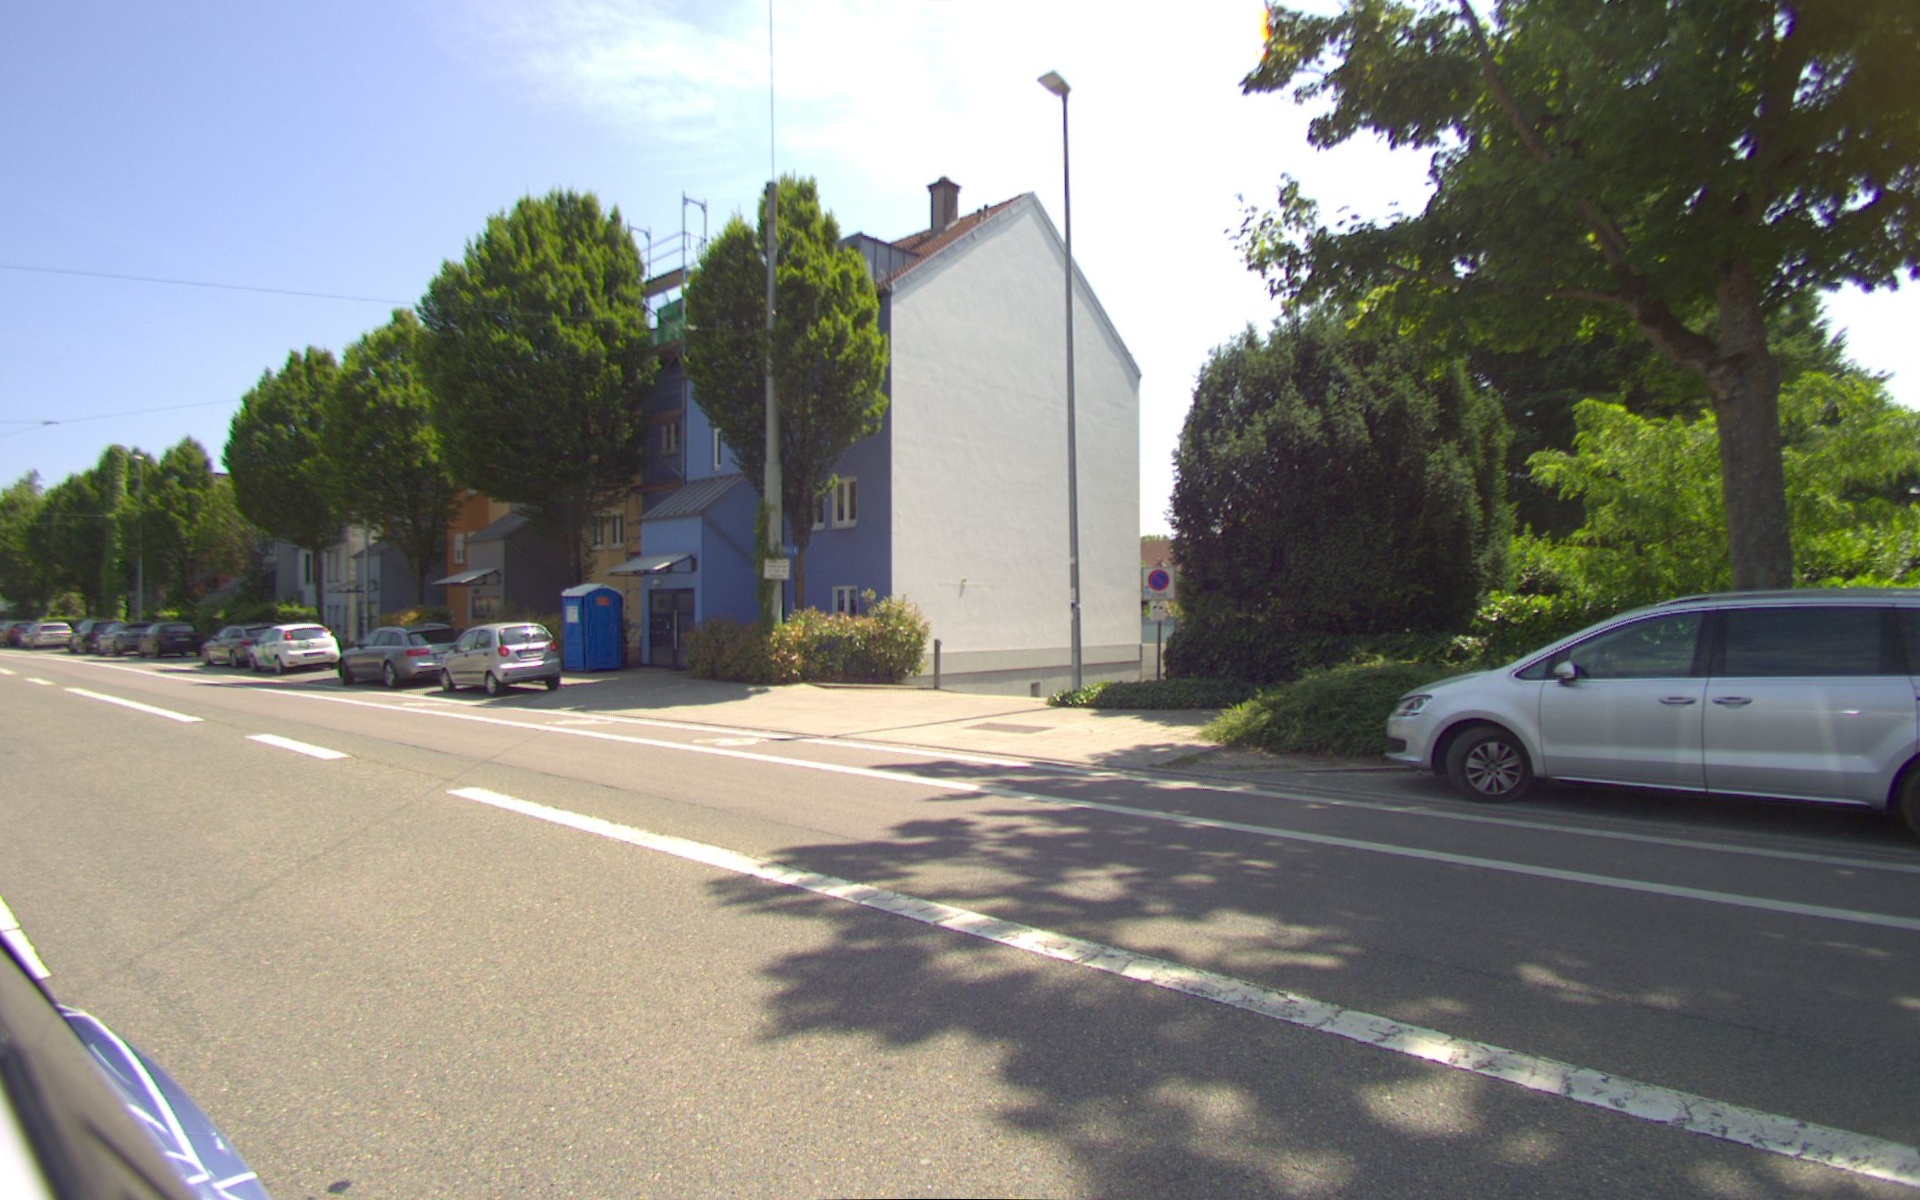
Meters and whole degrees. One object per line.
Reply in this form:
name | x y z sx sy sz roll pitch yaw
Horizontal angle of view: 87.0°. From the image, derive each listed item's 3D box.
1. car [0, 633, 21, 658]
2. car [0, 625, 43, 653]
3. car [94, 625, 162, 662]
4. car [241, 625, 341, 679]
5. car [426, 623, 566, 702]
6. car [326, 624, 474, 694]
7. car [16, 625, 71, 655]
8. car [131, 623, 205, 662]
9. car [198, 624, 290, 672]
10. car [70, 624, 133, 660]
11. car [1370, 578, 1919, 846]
car | -60.456 2.875 63.436 3.467 1.507 1.842 -1 2 40
car | -56.449 2.290 60.563 3.467 1.507 1.842 -1 2 40
car | -38.080 1.947 46.286 4.079 1.507 1.636 -1 2 40
car | -21.473 1.621 32.450 3.646 1.507 1.636 -1 2 40
car | -10.305 1.316 22.384 3.279 1.507 1.487 -1 2 40
car | -14.216 1.419 25.580 4.635 1.507 1.659 -1 2 40
car | -51.814 2.236 57.222 4.079 1.507 1.702 -1 2 40
car | -34.127 1.797 43.582 4.079 1.507 1.636 -1 2 40
car | -25.531 1.656 36.026 4.079 1.507 1.636 -1 2 40
car | -42.589 2.032 50.166 4.079 1.599 1.636 -1 2 40
car | 5.943 0.726 7.904 4.687 1.701 1.949 -1 -1 43
